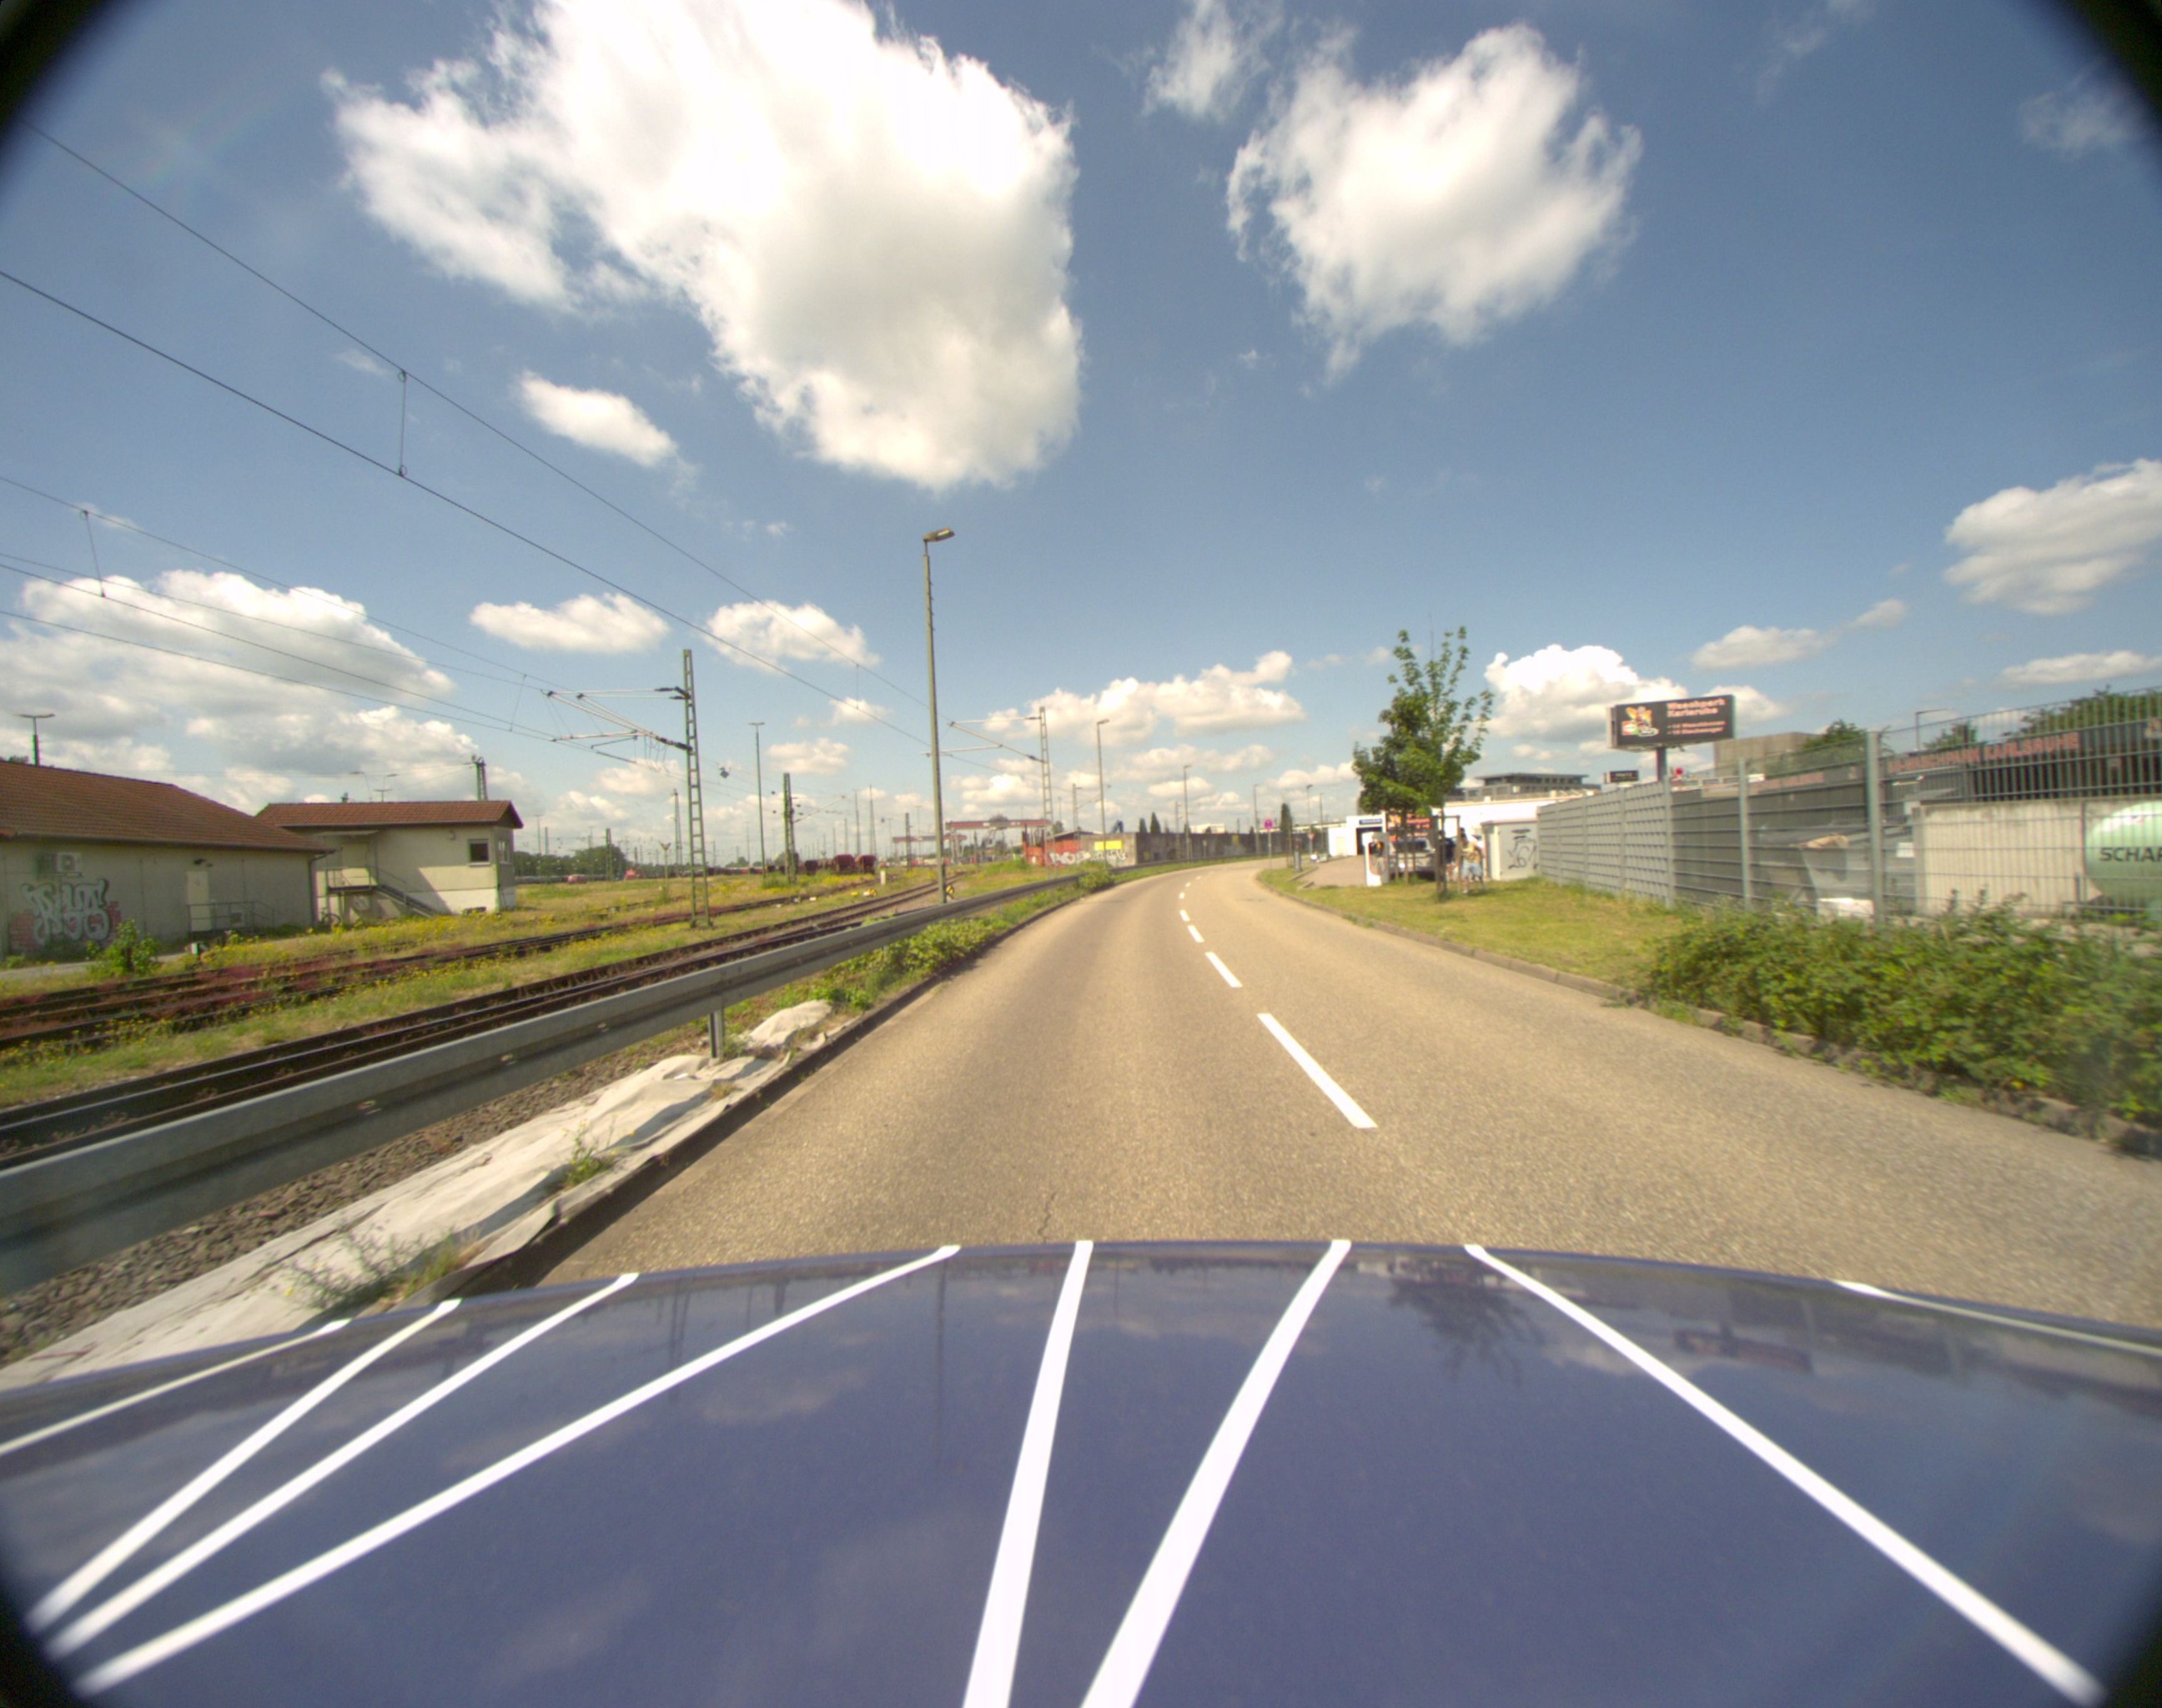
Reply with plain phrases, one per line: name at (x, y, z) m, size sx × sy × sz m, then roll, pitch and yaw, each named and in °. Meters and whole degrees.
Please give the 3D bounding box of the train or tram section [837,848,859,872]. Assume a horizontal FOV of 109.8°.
train or tram section at (-40.438, 1.082, 131.603) m, size 3.304 × 3.695 × 12.533 m, roll -3°, pitch 0°, yaw -18°

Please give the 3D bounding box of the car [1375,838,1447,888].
car at (11.470, 0.312, 26.690) m, size 1.933 × 1.508 × 4.782 m, roll -3°, pitch -1°, yaw 19°

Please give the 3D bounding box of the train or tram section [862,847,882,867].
train or tram section at (-42.801, 0.652, 155.113) m, size 3.208 × 3.695 × 12.533 m, roll -3°, pitch 0°, yaw -18°

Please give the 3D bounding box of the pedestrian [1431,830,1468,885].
pedestrian at (10.740, 0.103, 22.141) m, size 0.723 × 1.570 × 0.711 m, roll -4°, pitch 2°, yaw -41°

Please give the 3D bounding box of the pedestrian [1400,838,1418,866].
pedestrian at (19.948, -0.138, 46.246) m, size 0.863 × 1.643 × 0.942 m, roll -3°, pitch 0°, yaw 16°

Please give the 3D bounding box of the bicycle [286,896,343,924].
bicycle at (-36.709, 2.686, 36.421) m, size 1.875 × 1.197 × 0.412 m, roll -3°, pitch 1°, yaw -19°

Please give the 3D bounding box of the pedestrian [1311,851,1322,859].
pedestrian at (22.434, 0.124, 72.302) m, size 0.863 × 0.755 × 0.819 m, roll 0°, pitch 1°, yaw 27°

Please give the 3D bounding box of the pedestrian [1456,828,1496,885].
pedestrian at (11.197, 0.071, 21.544) m, size 0.715 × 1.556 × 0.757 m, roll -3°, pitch 2°, yaw -37°

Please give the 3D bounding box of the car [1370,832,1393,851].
car at (36.676, -1.517, 92.730) m, size 1.995 × 2.097 × 5.018 m, roll -2°, pitch 1°, yaw 28°

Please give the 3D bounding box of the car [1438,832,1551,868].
car at (20.270, -0.199, 37.462) m, size 4.557 × 1.515 × 2.002 m, roll -3°, pitch 1°, yaw 17°

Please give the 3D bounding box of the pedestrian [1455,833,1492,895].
pedestrian at (10.102, 0.248, 19.570) m, size 0.738 × 1.533 × 0.816 m, roll -2°, pitch 1°, yaw 22°

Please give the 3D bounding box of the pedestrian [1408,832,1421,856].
pedestrian at (29.092, -0.900, 66.211) m, size 0.938 × 2.003 × 0.866 m, roll -2°, pitch 3°, yaw 26°

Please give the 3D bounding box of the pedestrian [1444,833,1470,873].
pedestrian at (16.620, -0.050, 33.614) m, size 0.863 × 1.741 × 0.728 m, roll -3°, pitch 1°, yaw 21°
